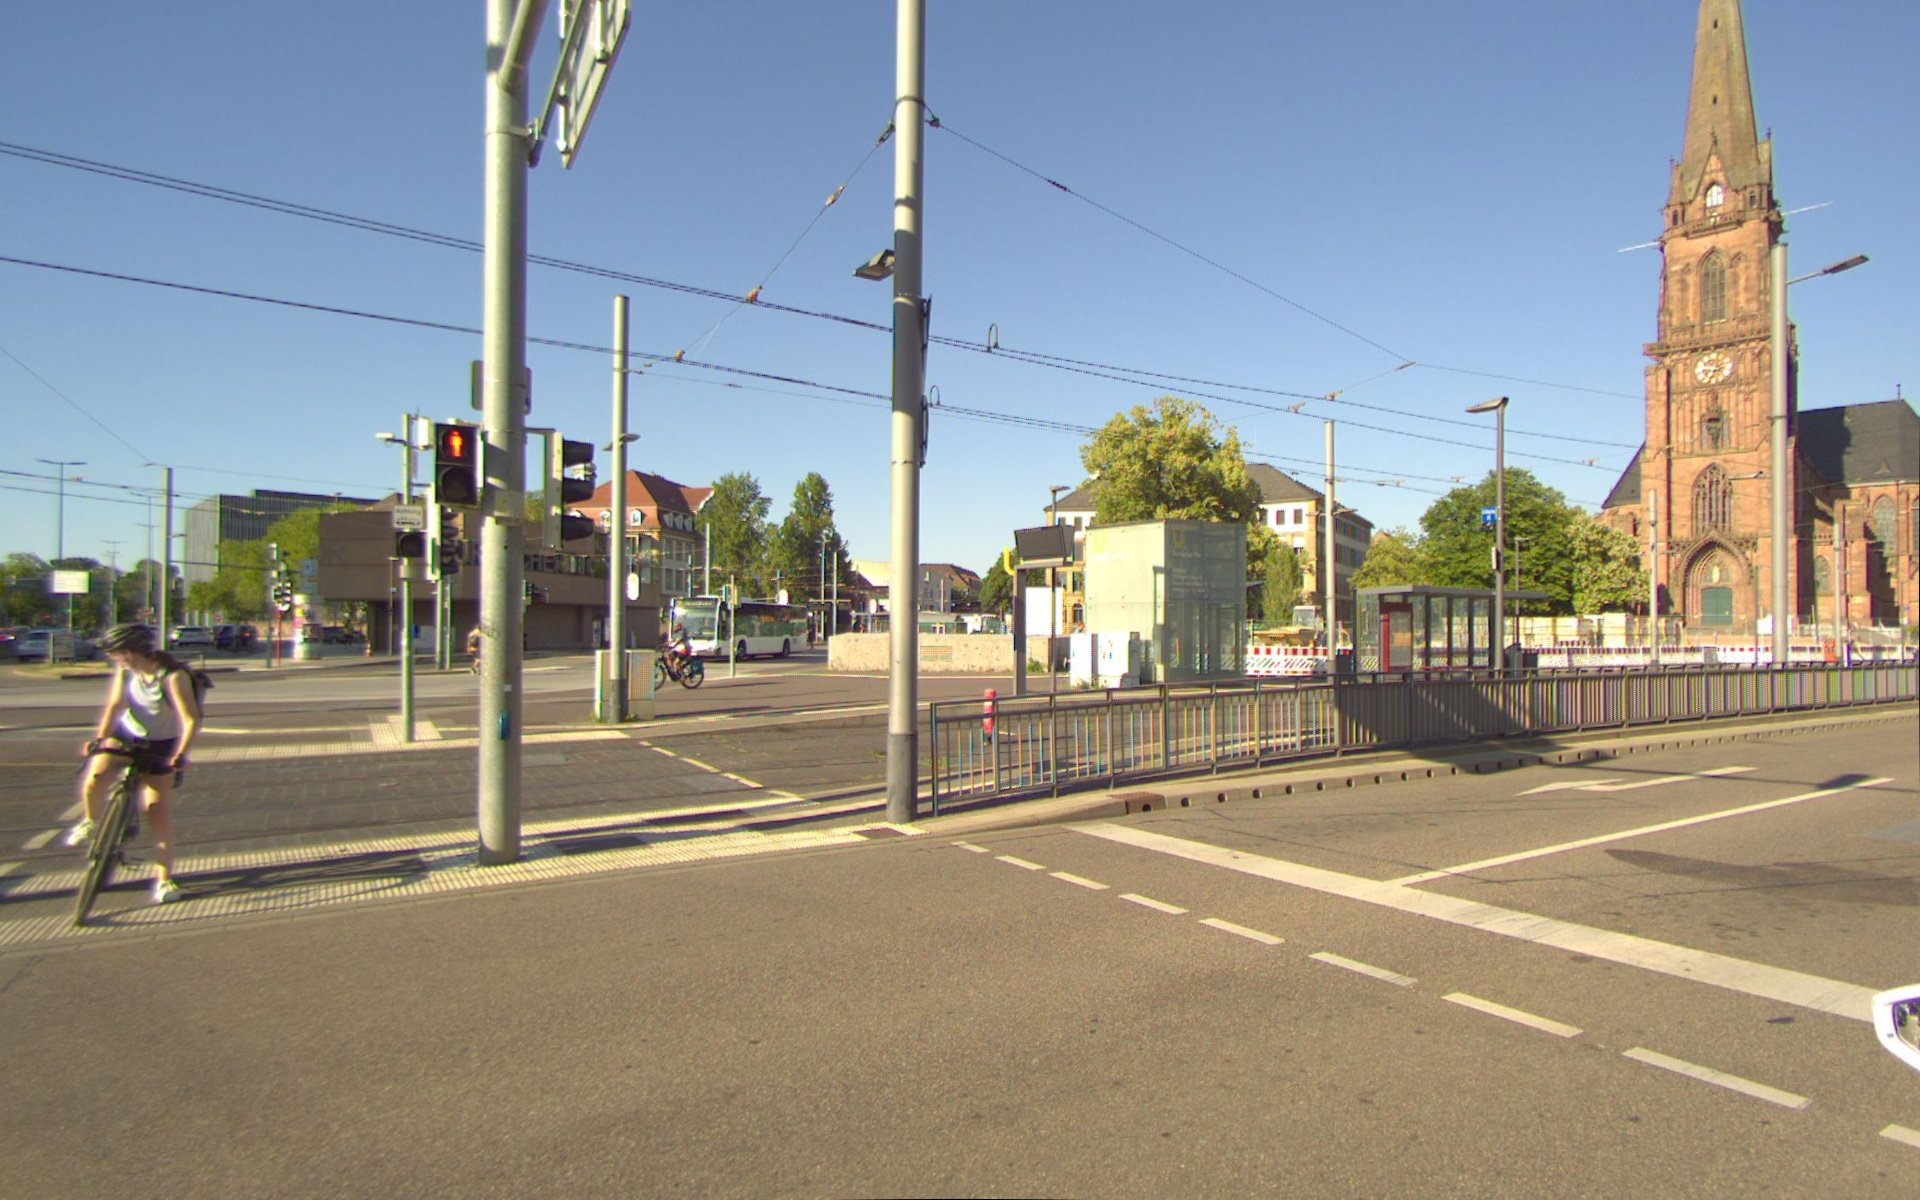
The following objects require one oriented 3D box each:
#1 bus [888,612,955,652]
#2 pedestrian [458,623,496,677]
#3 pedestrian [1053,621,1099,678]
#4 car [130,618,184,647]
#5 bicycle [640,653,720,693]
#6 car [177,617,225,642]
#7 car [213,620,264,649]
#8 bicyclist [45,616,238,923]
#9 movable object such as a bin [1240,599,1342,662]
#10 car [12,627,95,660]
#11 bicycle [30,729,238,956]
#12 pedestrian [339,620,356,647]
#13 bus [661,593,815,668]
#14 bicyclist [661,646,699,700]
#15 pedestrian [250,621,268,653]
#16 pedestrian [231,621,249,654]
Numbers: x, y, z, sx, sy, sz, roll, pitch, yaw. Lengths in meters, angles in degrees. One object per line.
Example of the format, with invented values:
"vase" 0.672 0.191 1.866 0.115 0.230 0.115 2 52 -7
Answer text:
"bus" -3.356 2.832 92.333 3.186 3.236 12.669 -3 -1 11
"pedestrian" -16.040 1.661 33.346 1.041 1.708 0.725 -3 -1 41
"pedestrian" 3.774 1.604 32.653 1.167 1.792 0.797 -2 -1 -33
"car" -49.402 1.996 61.857 1.698 1.652 3.847 -1 -1 -25
"bicycle" -7.544 1.954 27.045 1.973 0.954 0.811 -1 1 -23
"car" -54.988 2.146 72.837 1.833 1.651 3.848 3 -3 -24
"car" -45.809 2.206 63.855 1.839 1.652 4.013 -3 0 -25
"bicyclist" -4.779 0.932 5.919 0.808 1.637 0.669 2 -3 -38
"movable object such as a bin" 14.875 1.318 44.963 2.596 2.559 5.146 -3 -1 39
"car" -42.004 1.994 46.658 1.824 1.442 4.399 1 -2 -28
"bicycle" -4.789 1.314 5.925 0.808 0.954 1.875 2 -3 -37
"pedestrian" -37.087 2.023 60.812 0.797 1.588 1.168 -2 -1 -36
"bus" -10.899 1.448 51.397 2.784 3.236 12.669 -3 -1 11
"bicyclist" -7.540 1.954 27.043 0.889 1.363 0.811 -1 1 -23
"pedestrian" -40.548 2.126 58.137 0.797 1.792 0.964 -2 -1 -36
"pedestrian" -41.289 2.149 57.588 0.797 1.792 0.954 -2 -1 -36
